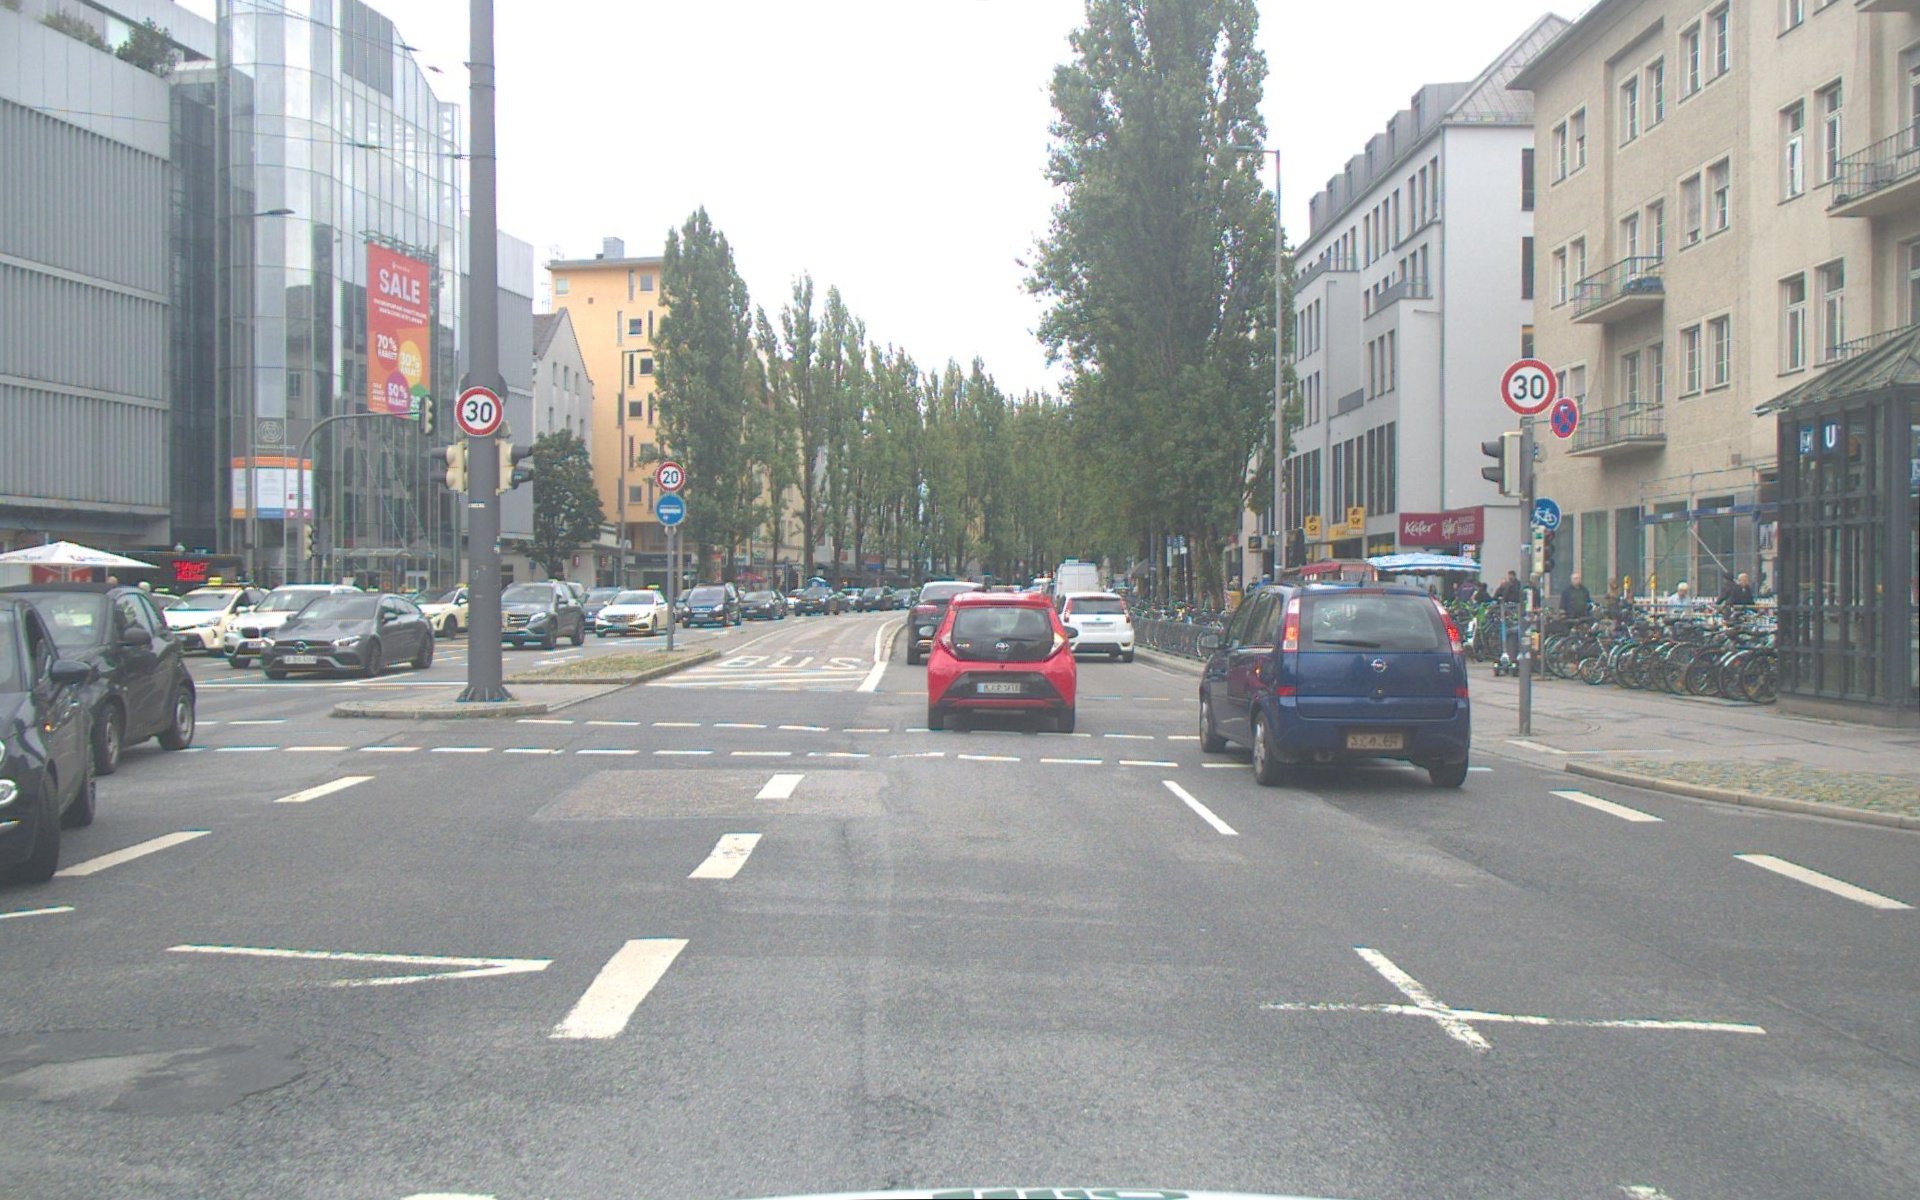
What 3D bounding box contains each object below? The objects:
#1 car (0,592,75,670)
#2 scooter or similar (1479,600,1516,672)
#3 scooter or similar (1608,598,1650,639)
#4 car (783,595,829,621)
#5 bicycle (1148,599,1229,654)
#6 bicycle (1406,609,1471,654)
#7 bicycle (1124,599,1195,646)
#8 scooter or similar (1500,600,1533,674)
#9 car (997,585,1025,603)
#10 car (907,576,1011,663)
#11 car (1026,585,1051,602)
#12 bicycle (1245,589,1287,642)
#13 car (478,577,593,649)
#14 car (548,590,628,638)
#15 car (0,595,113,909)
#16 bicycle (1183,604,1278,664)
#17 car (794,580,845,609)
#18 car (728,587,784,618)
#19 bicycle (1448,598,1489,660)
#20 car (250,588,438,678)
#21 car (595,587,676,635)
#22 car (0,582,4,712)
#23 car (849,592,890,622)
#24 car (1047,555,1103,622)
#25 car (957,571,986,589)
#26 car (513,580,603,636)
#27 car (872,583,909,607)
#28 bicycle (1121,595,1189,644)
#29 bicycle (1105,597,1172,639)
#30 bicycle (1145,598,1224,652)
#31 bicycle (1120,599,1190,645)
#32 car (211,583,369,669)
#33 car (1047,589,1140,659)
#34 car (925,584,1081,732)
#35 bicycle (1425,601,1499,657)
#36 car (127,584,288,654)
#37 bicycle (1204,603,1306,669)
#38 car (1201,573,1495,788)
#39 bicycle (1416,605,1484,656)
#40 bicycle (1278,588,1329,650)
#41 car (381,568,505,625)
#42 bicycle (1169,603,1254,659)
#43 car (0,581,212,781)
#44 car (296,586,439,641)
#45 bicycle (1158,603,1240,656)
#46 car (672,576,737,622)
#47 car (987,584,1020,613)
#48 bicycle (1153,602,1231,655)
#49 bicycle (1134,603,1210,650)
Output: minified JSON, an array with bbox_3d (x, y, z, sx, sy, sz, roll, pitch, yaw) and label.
[{"bbox_3d":[-20.730,0.634,35.585,1.960,1.563,4.397,-1,1,-15],"label":"car"},{"bbox_3d":[9.233,0.606,28.384,0.357,1.196,1.345,0,0,29],"label":"scooter or similar"},{"bbox_3d":[16.274,0.434,40.241,0.524,0.960,1.124,-1,1,-2],"label":"scooter or similar"},{"bbox_3d":[-9.608,0.477,103.363,1.951,1.561,4.469,0,0,7],"label":"car"},{"bbox_3d":[5.185,0.589,37.620,1.805,1.188,0.583,0,1,42],"label":"bicycle"},{"bbox_3d":[10.028,0.655,34.669,1.266,0.931,0.369,0,0,0],"label":"bicycle"},{"bbox_3d":[5.130,0.567,42.540,1.805,1.156,0.583,0,1,42],"label":"bicycle"},{"bbox_3d":[9.430,0.614,28.023,0.294,1.196,1.275,0,0,29],"label":"scooter or similar"},{"bbox_3d":[4.973,-0.594,161.233,1.951,1.721,4.418,0,1,11],"label":"car"},{"bbox_3d":[-0.059,0.350,33.218,1.953,1.646,3.999,0,0,-1],"label":"car"},{"bbox_3d":[8.344,-0.684,175.447,1.951,1.721,4.418,0,0,11],"label":"car"},{"bbox_3d":[7.797,0.385,42.254,0.601,1.287,2.519,0,1,0],"label":"bicycle"},{"bbox_3d":[-10.712,0.289,42.071,1.707,1.699,4.732,-1,1,0],"label":"car"},{"bbox_3d":[-13.492,0.479,60.160,1.801,1.642,4.259,0,1,2],"label":"car"},{"bbox_3d":[-5.712,0.718,9.200,1.525,1.471,3.514,0,0,-23],"label":"car"},{"bbox_3d":[5.363,0.658,32.791,1.769,1.130,0.650,0,1,36],"label":"bicycle"},{"bbox_3d":[-7.750,-0.326,91.474,1.951,1.561,4.591,0,0,6],"label":"car"},{"bbox_3d":[-9.637,0.114,78.414,1.806,1.406,4.603,0,0,4],"label":"car"},{"bbox_3d":[9.980,0.558,32.451,0.361,1.161,1.720,0,0,31],"label":"bicycle"},{"bbox_3d":[-10.858,0.530,29.493,1.954,1.436,4.165,-1,1,-3],"label":"car"},{"bbox_3d":[-10.396,0.323,53.276,1.729,1.446,4.639,0,0,0],"label":"car"},{"bbox_3d":[-13.392,0.653,19.650,1.746,1.691,3.999,-1,1,-1],"label":"car"},{"bbox_3d":[-5.943,0.440,108.947,1.952,1.721,4.924,-4,0,4],"label":"car"},{"bbox_3d":[4.901,-0.478,70.836,2.063,2.766,4.804,0,0,0],"label":"car"},{"bbox_3d":[1.157,-1.955,161.103,1.951,1.721,4.418,0,1,11],"label":"car"},{"bbox_3d":[-15.996,0.269,66.105,1.952,2.048,5.526,-1,1,3],"label":"car"},{"bbox_3d":[-4.945,-0.361,118.160,1.951,1.721,4.924,0,0,6],"label":"car"},{"bbox_3d":[5.179,0.512,43.969,1.805,1.263,0.583,0,1,42],"label":"bicycle"},{"bbox_3d":[4.987,0.490,46.226,1.801,1.156,0.584,0,0,35],"label":"bicycle"},{"bbox_3d":[5.199,0.567,38.402,1.805,1.218,0.583,0,1,42],"label":"bicycle"},{"bbox_3d":[5.100,0.568,43.301,1.805,1.156,0.583,0,1,42],"label":"bicycle"},{"bbox_3d":[-13.441,0.478,33.415,1.664,1.624,3.998,0,0,-2],"label":"car"},{"bbox_3d":[2.850,0.484,35.919,1.665,1.451,3.496,0,0,-2],"label":"car"},{"bbox_3d":[0.444,0.588,18.606,1.572,1.487,3.130,1,0,0],"label":"car"},{"bbox_3d":[10.171,0.584,33.510,1.389,1.096,0.369,0,0,0],"label":"bicycle"},{"bbox_3d":[-17.983,0.405,39.751,1.862,1.570,4.392,0,1,0],"label":"car"},{"bbox_3d":[5.472,0.651,30.731,1.768,1.178,0.650,0,1,35],"label":"bicycle"},{"bbox_3d":[3.188,0.592,14.254,1.668,1.617,3.555,0,0,-1],"label":"car"},{"bbox_3d":[10.082,0.622,34.014,1.287,1.017,0.369,0,0,0],"label":"bicycle"},{"bbox_3d":[7.572,0.397,36.538,0.601,1.287,2.519,0,1,0],"label":"bicycle"},{"bbox_3d":[-16.417,-0.125,52.715,1.951,1.708,4.187,1,1,11],"label":"car"},{"bbox_3d":[5.294,0.643,34.866,1.772,1.130,0.559,0,1,41],"label":"bicycle"},{"bbox_3d":[-7.744,0.654,14.468,1.476,1.561,2.831,-1,0,-10],"label":"car"},{"bbox_3d":[-17.042,0.356,47.858,1.951,1.534,4.638,0,0,8],"label":"car"},{"bbox_3d":[5.242,0.631,36.292,1.773,1.130,0.583,0,1,42],"label":"bicycle"},{"bbox_3d":[-10.175,-0.045,66.153,1.897,1.769,4.588,0,0,0],"label":"car"},{"bbox_3d":[2.935,-0.106,109.770,1.951,1.870,4.002,0,0,5],"label":"car"},{"bbox_3d":[5.176,0.625,36.956,1.773,1.130,0.488,0,1,42],"label":"bicycle"},{"bbox_3d":[5.091,0.627,39.808,1.805,1.070,0.583,0,1,42],"label":"bicycle"}]
